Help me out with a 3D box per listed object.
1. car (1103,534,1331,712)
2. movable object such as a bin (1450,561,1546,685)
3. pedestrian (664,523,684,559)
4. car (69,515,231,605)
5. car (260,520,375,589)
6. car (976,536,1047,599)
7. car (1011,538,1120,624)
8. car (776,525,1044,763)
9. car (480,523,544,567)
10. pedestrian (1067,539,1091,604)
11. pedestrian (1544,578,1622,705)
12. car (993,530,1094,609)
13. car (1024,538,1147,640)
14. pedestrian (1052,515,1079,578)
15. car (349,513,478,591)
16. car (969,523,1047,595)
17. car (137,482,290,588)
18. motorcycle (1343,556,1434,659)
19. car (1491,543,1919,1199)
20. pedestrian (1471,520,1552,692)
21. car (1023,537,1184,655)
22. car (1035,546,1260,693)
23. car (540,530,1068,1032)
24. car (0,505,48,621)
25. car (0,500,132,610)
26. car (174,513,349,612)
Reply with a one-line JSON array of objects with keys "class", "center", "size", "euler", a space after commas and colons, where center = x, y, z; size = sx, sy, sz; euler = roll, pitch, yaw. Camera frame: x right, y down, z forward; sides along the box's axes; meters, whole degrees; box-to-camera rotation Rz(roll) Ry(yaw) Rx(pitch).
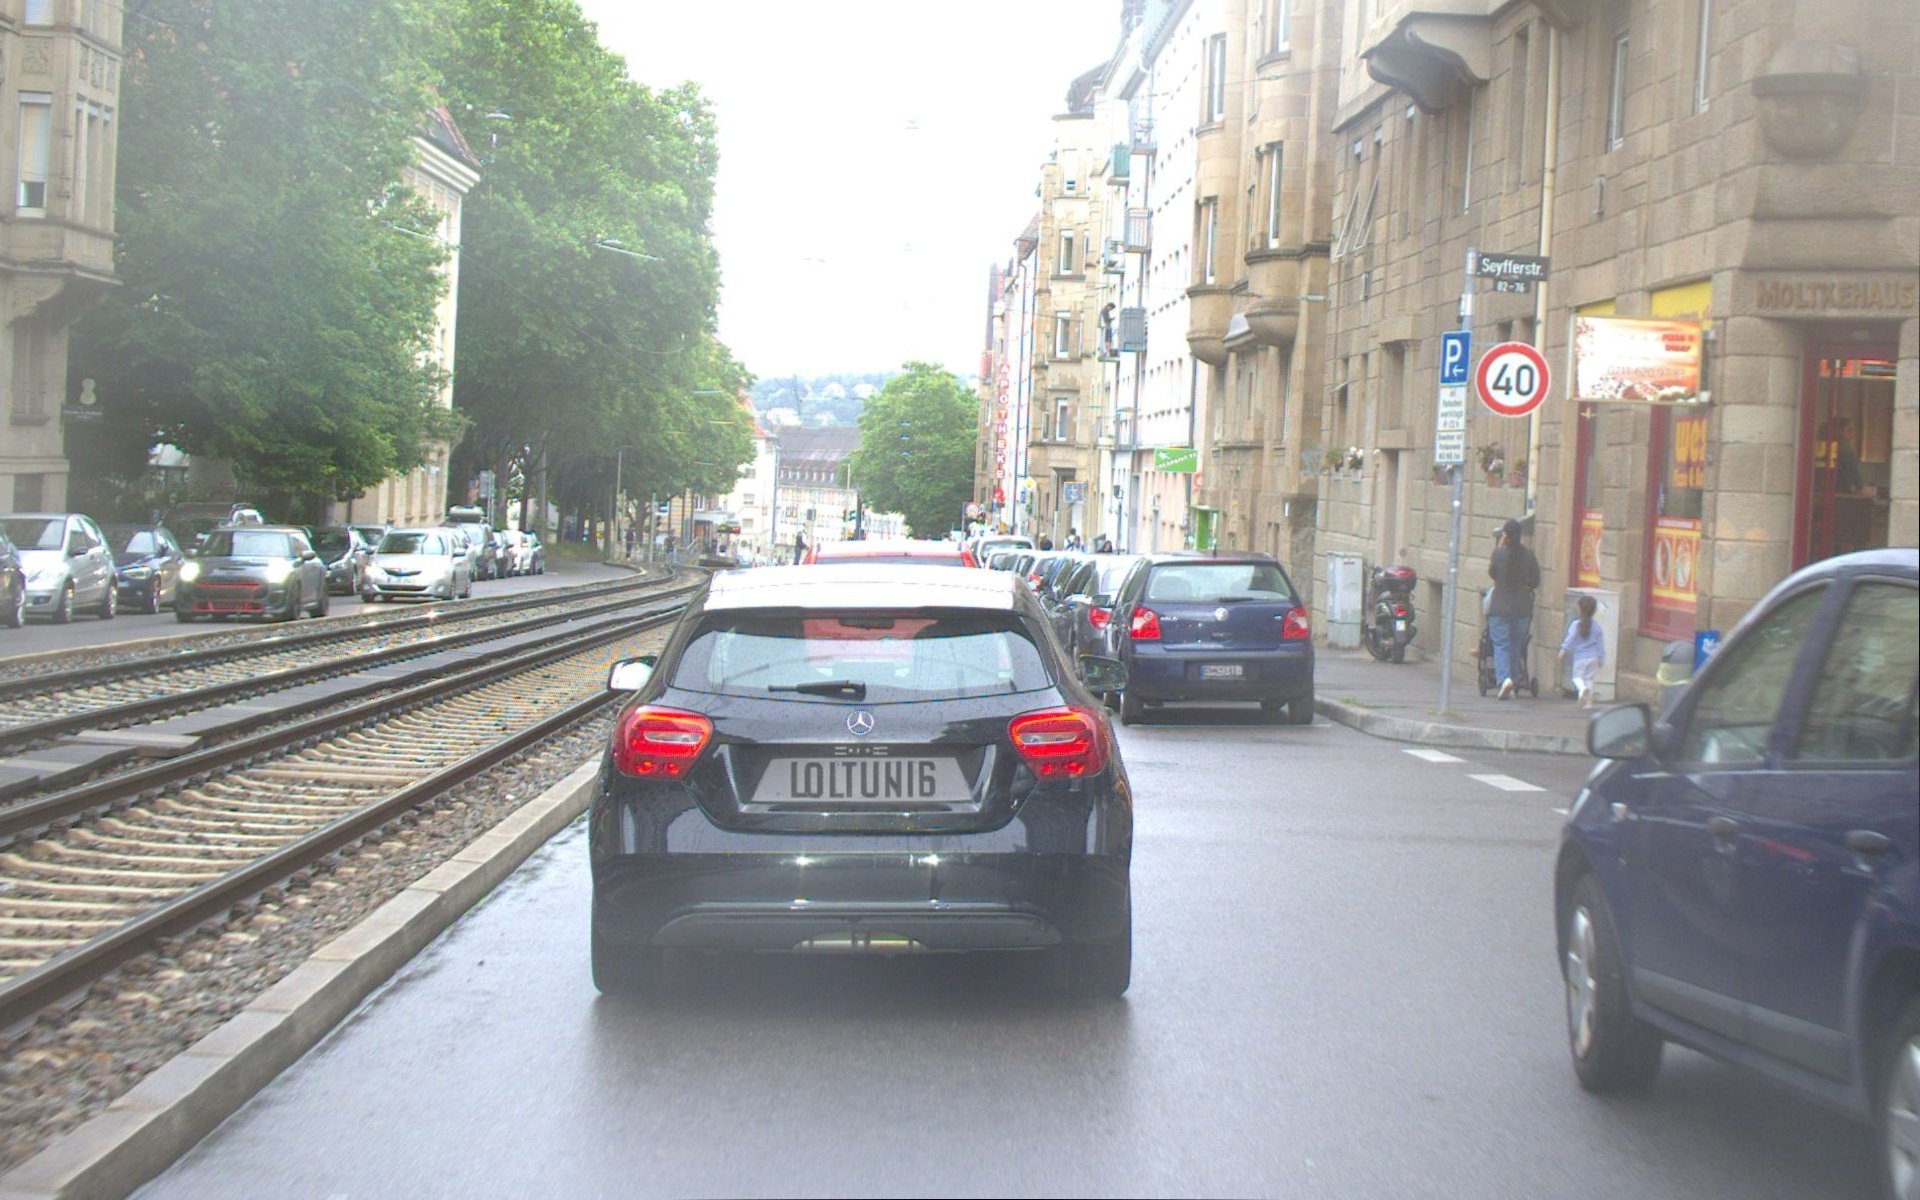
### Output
[{"class": "car", "center": [2.169, 0.149, 29.847], "size": [1.671, 1.439, 3.790], "euler": [0, 1, 0]}, {"class": "movable object such as a bin", "center": [5.016, 0.205, 32.093], "size": [0.665, 1.099, 1.124], "euler": [2, 1, -1]}, {"class": "pedestrian", "center": [-12.778, -2.632, 153.527], "size": [0.806, 1.628, 0.892], "euler": [0, 1, 0]}, {"class": "car", "center": [-13.130, -0.668, 55.964], "size": [1.762, 1.393, 4.270], "euler": [0, 1, -2]}, {"class": "car", "center": [-13.982, -1.013, 75.014], "size": [1.849, 1.459, 4.551], "euler": [0, 1, -3]}, {"class": "car", "center": [1.203, -0.792, 81.965], "size": [1.570, 1.457, 3.600], "euler": [1, 1, -1]}, {"class": "car", "center": [1.814, -0.350, 60.149], "size": [1.590, 1.429, 3.685], "euler": [1, 1, -3]}, {"class": "car", "center": [-0.370, 0.262, 25.396], "size": [1.785, 1.575, 4.000], "euler": [1, 1, -1]}, {"class": "car", "center": [-14.435, -1.769, 110.950], "size": [1.500, 1.386, 3.987], "euler": [0, 1, 0]}, {"class": "pedestrian", "center": [3.215, -0.785, 93.244], "size": [0.607, 1.757, 0.688], "euler": [0, 1, -2]}, {"class": "pedestrian", "center": [5.298, 0.347, 29.264], "size": [0.510, 1.046, 0.627], "euler": [1, 1, -1]}, {"class": "car", "center": [1.555, -0.604, 65.311], "size": [1.667, 1.429, 3.957], "euler": [1, 1, -2]}, {"class": "car", "center": [1.816, -0.188, 50.688], "size": [1.543, 1.410, 3.447], "euler": [1, 1, -2]}, {"class": "pedestrian", "center": [3.144, -1.592, 102.187], "size": [0.746, 1.827, 1.039], "euler": [-1, 1, 1]}, {"class": "car", "center": [-10.619, -0.951, 67.053], "size": [1.981, 1.452, 4.295], "euler": [1, 1, -2]}, {"class": "car", "center": [1.188, -1.055, 86.533], "size": [1.790, 1.759, 4.212], "euler": [1, 1, -1]}, {"class": "car", "center": [-13.517, -1.181, 62.483], "size": [1.800, 1.840, 4.819], "euler": [0, 1, -1]}, {"class": "motorcycle", "center": [5.263, 0.076, 42.351], "size": [0.705, 1.194, 2.746], "euler": [1, 1, -1]}, {"class": "car", "center": [2.599, 0.611, 8.290], "size": [1.690, 1.477, 3.931], "euler": [0, 1, -5]}, {"class": "pedestrian", "center": [4.991, 0.045, 31.144], "size": [0.561, 1.530, 0.710], "euler": [1, 1, -1]}, {"class": "car", "center": [1.867, -0.088, 45.896], "size": [1.787, 1.457, 4.084], "euler": [1, 1, -2]}, {"class": "car", "center": [1.855, 0.156, 35.309], "size": [1.754, 1.382, 4.486], "euler": [0, 1, -4]}, {"class": "car", "center": [-0.519, 0.520, 12.313], "size": [1.580, 1.499, 3.575], "euler": [1, 1, -1]}, {"class": "car", "center": [-13.409, -0.502, 45.020], "size": [1.870, 1.503, 4.170], "euler": [1, 1, -1]}, {"class": "car", "center": [-13.351, -0.671, 50.016], "size": [1.695, 1.518, 3.855], "euler": [0, 1, 0]}, {"class": "car", "center": [-10.317, -0.574, 50.994], "size": [1.704, 1.383, 3.781], "euler": [1, 1, 2]}]
